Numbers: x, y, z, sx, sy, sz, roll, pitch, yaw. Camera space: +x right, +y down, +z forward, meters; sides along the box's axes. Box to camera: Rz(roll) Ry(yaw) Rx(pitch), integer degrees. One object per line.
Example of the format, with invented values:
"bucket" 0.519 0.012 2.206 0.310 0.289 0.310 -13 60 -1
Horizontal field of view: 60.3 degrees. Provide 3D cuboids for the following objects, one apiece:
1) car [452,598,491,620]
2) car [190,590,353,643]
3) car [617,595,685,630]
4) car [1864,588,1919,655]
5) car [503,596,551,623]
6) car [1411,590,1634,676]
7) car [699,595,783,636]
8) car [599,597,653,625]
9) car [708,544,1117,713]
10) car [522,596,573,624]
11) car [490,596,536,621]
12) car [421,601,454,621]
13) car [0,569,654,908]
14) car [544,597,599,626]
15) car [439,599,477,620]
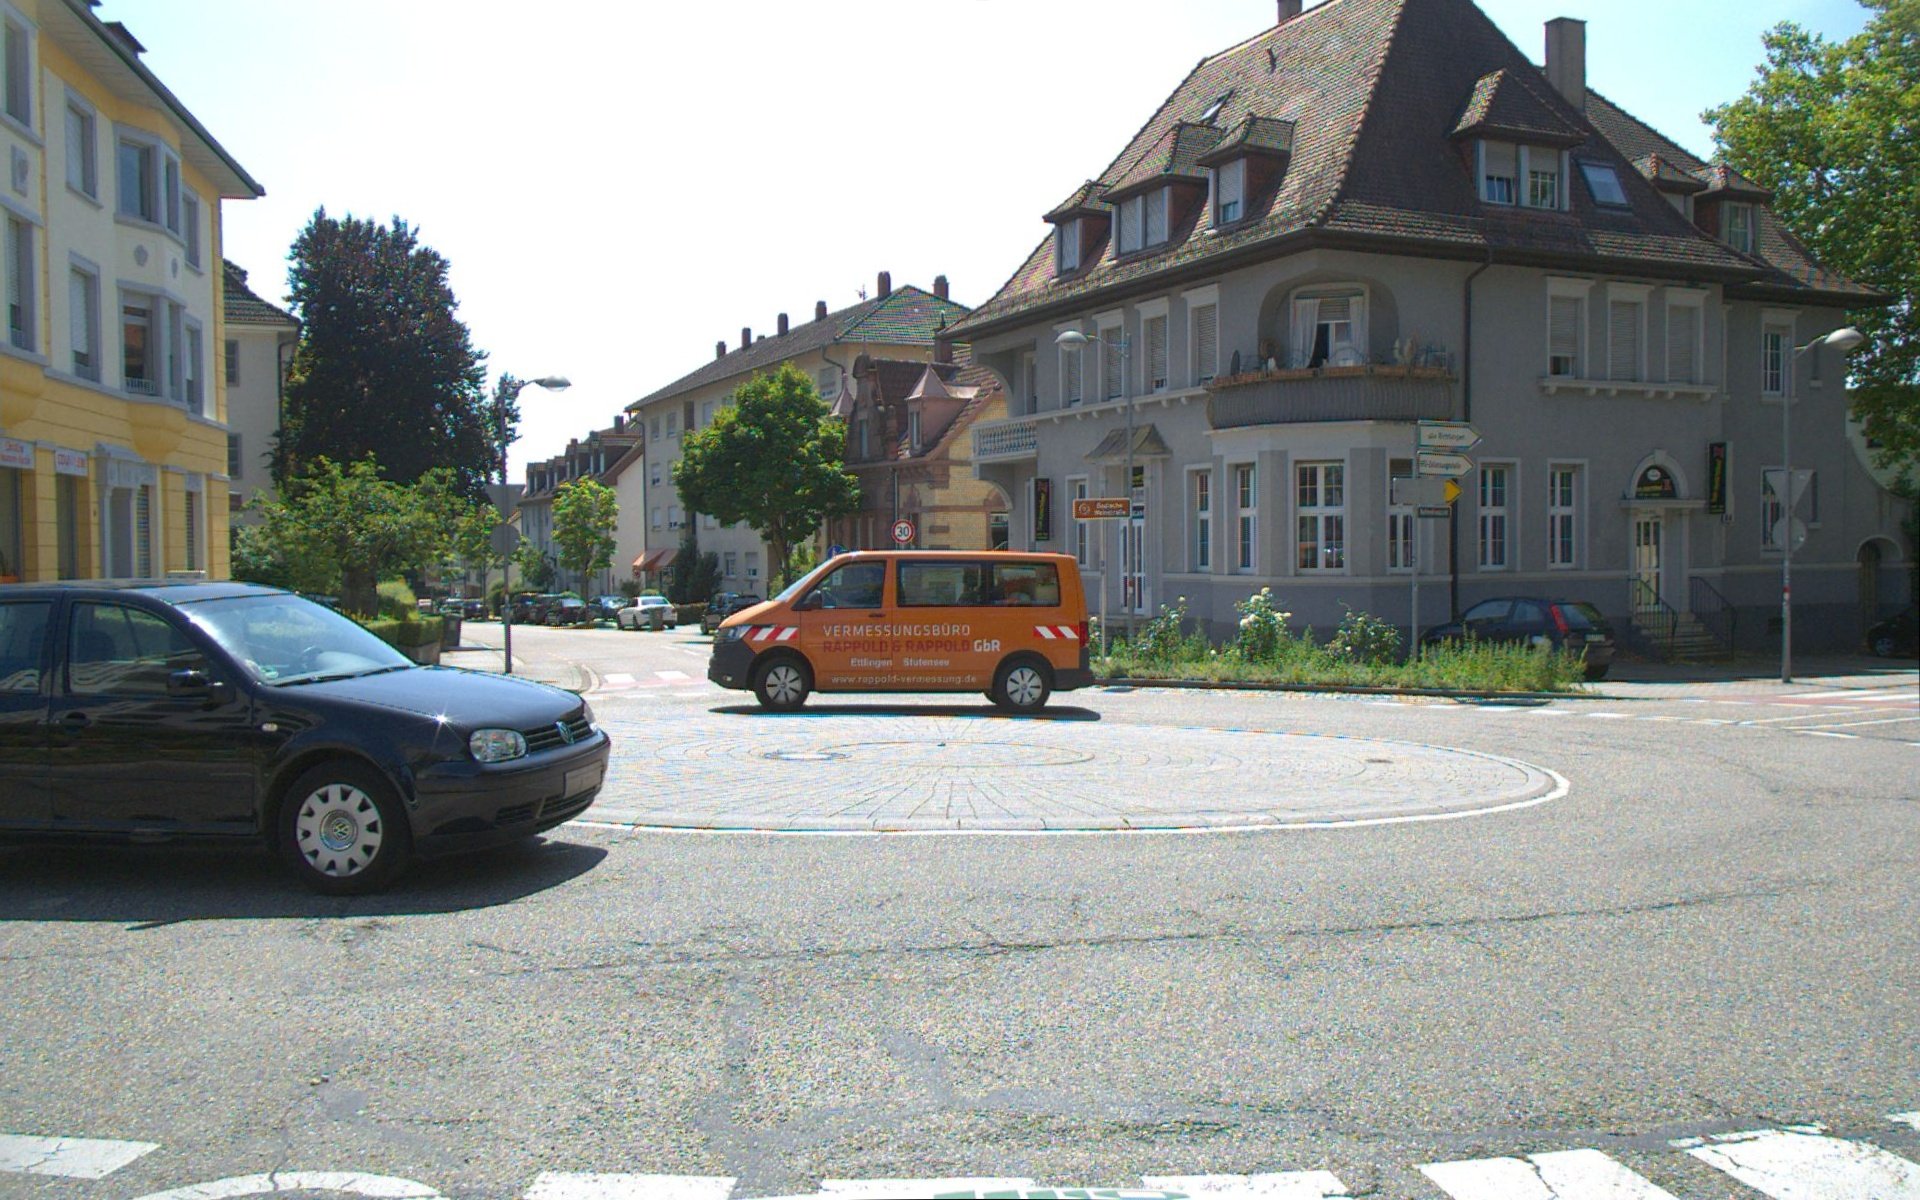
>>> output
"car" -34.696 0.595 117.324 1.969 1.535 4.381 0 0 -26
"car" -21.010 0.483 50.504 4.363 1.535 1.977 0 0 -33
"car" -14.134 0.533 75.406 1.969 1.535 4.381 0 0 -26
"car" 23.427 0.514 39.001 1.701 1.573 3.358 0 0 -30
"car" -25.935 0.542 99.032 1.969 1.535 4.381 0 0 -26
"car" 10.315 0.553 30.578 1.700 1.486 3.754 0 0 -30
"car" -8.597 0.573 64.567 1.969 1.535 4.381 0 0 -26
"car" -18.976 0.608 93.854 1.969 1.535 4.381 0 0 -26
"car" -0.641 0.318 20.783 4.909 1.993 1.947 0 1 -7
"car" -23.537 0.565 94.271 1.969 1.535 4.381 0 0 -26
"car" -27.901 0.524 103.245 1.969 1.535 4.381 0 0 -26
"car" -41.963 0.892 132.717 1.969 1.514 3.967 1 0 -26
"car" -3.786 0.633 8.507 3.958 1.472 1.718 -1 2 10
"car" -20.912 0.591 88.880 1.969 1.535 4.381 0 0 -26
"car" -37.269 0.681 122.751 1.969 1.535 4.381 0 0 -26
